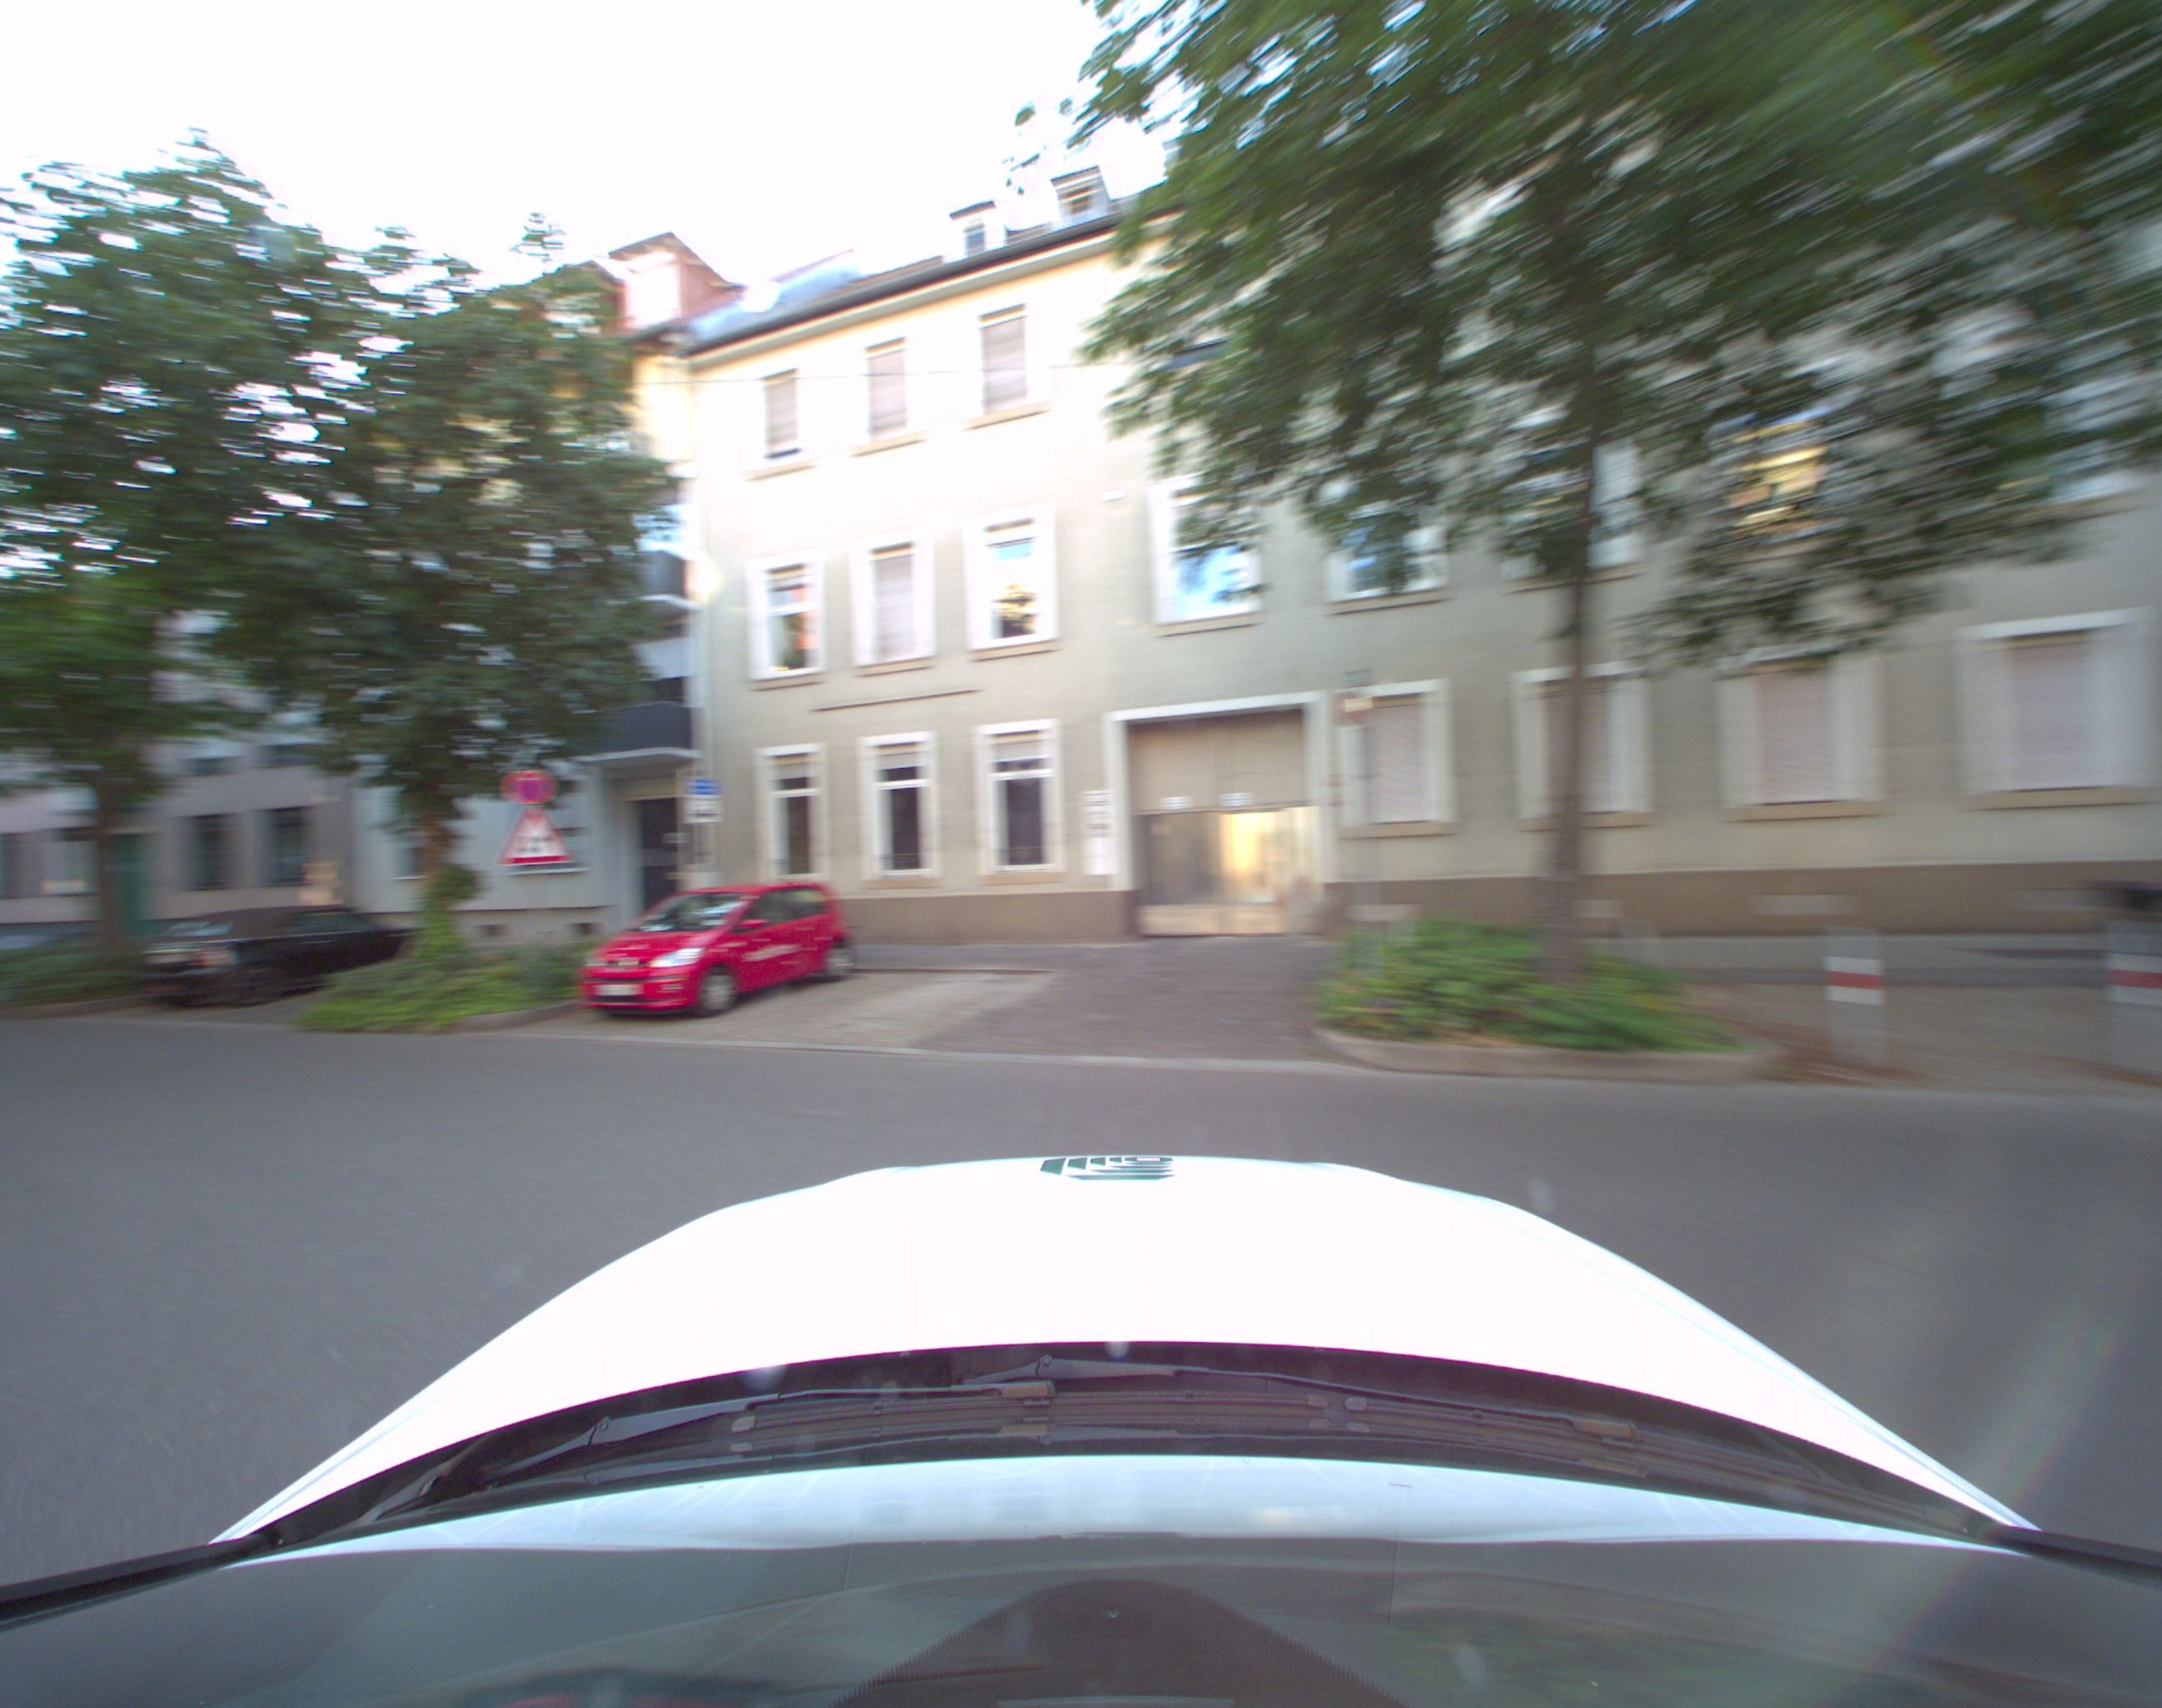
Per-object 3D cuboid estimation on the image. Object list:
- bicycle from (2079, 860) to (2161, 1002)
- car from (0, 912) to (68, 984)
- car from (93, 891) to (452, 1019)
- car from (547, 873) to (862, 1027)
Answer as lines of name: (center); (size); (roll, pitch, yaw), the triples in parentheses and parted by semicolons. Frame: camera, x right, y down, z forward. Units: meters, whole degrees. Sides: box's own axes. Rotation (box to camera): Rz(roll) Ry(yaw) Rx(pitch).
bicycle: (9.082, 0.646, 6.515); (0.441, 1.145, 2.053); (-3, -1, 23)
car: (-24.748, 2.153, 17.290); (1.548, 1.479, 3.686); (-3, 0, 17)
car: (-12.708, 1.508, 13.164); (1.610, 1.427, 3.730); (-3, 2, 15)
car: (-4.566, 1.077, 10.519); (1.548, 1.475, 3.685); (-3, 0, 17)
